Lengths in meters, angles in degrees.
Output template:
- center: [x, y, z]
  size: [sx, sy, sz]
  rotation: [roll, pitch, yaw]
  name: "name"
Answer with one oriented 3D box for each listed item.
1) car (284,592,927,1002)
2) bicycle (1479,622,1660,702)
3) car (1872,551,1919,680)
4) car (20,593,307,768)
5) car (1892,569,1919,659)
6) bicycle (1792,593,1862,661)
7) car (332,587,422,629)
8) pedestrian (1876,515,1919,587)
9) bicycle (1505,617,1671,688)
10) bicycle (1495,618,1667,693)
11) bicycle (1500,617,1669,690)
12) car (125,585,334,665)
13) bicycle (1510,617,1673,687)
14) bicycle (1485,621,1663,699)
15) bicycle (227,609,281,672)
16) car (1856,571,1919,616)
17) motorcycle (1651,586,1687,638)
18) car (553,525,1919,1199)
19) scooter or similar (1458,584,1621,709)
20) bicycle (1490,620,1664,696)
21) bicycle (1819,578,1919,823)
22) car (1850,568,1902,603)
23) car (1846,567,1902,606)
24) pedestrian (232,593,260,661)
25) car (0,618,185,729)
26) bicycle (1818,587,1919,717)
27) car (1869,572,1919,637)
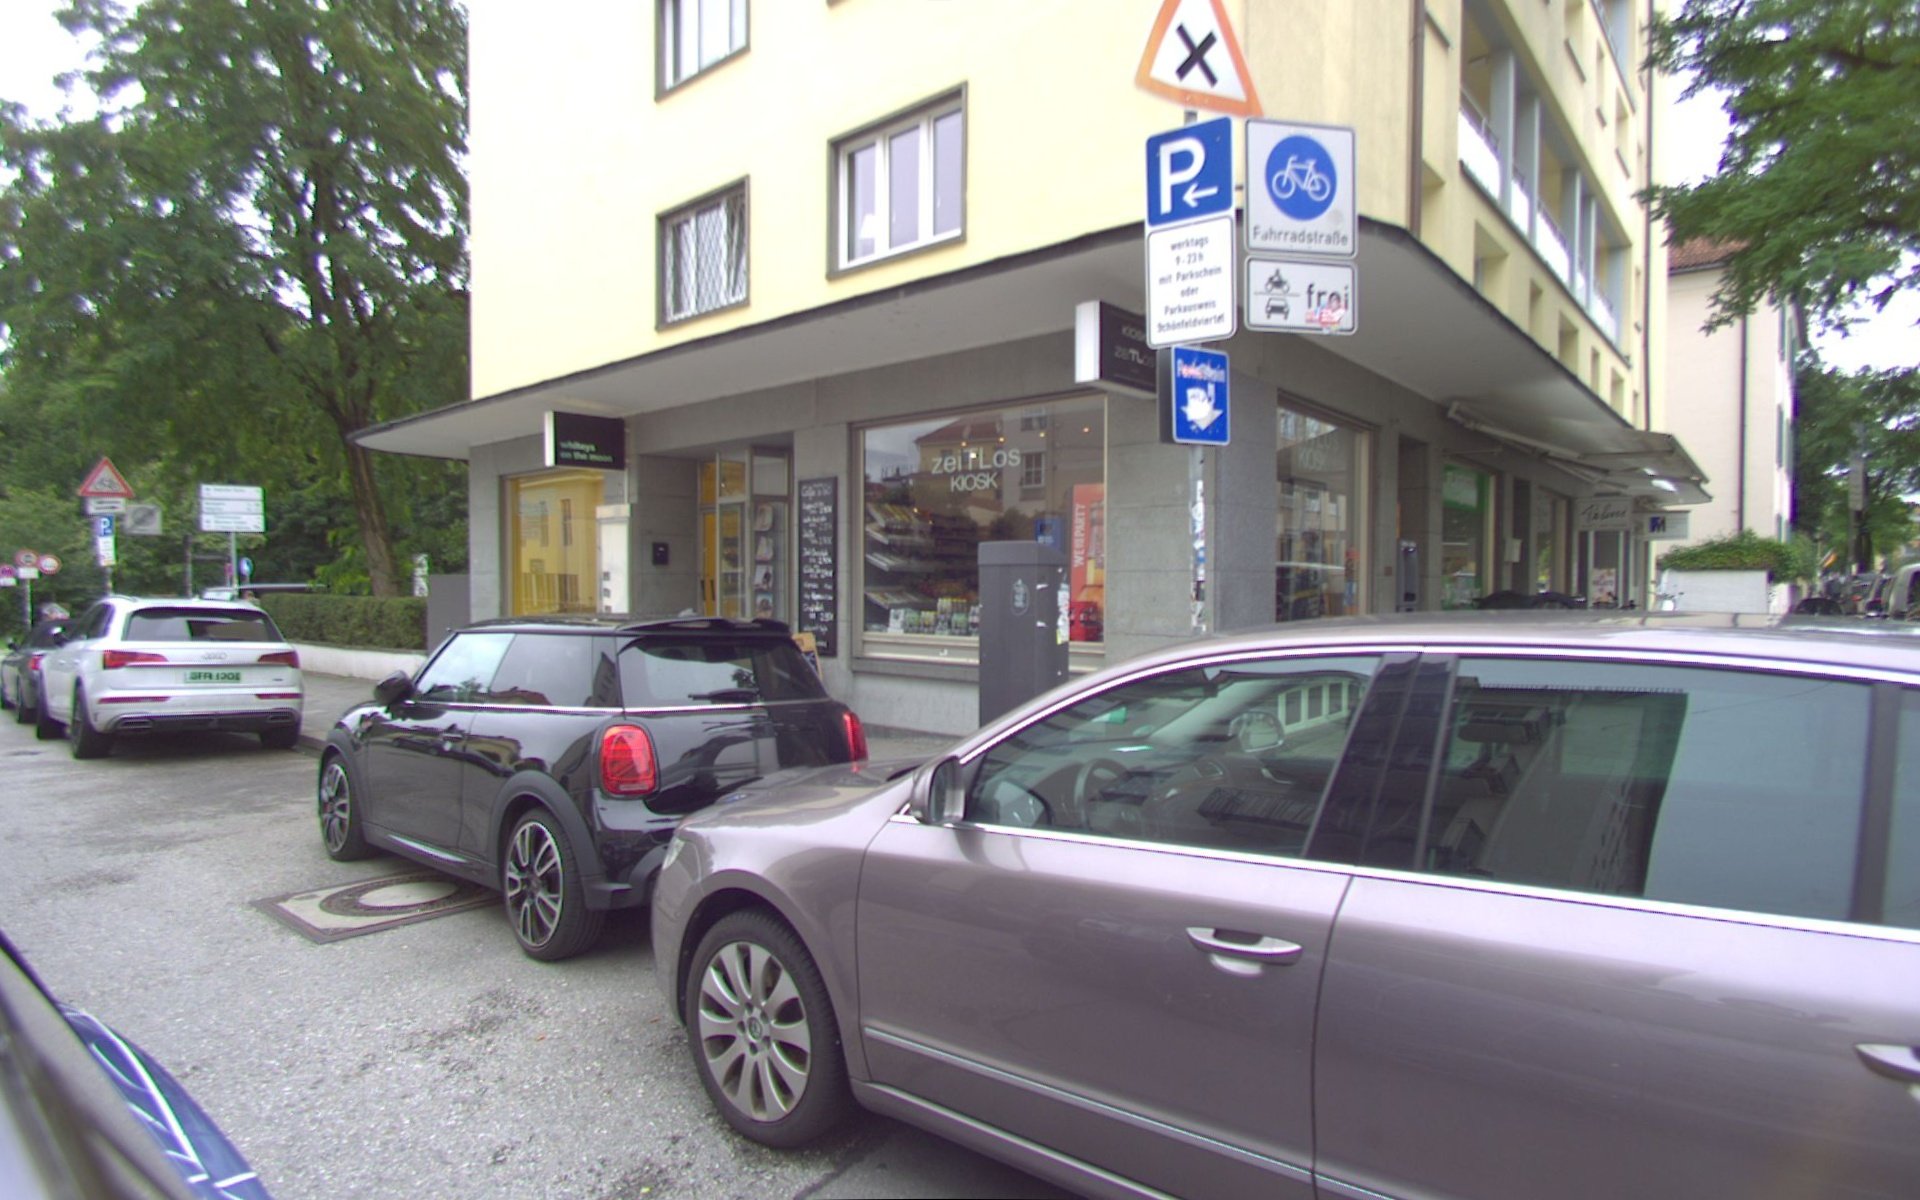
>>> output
- center: [-2.226, 0.730, 5.673]
  size: [4.096, 1.482, 1.661]
  rotation: [0, -1, 42]
  name: "car"
- center: [6.842, 0.671, 11.430]
  size: [1.721, 0.786, 0.289]
  rotation: [2, 1, 40]
  name: "bicycle"
- center: [15.642, 0.168, 15.821]
  size: [1.907, 1.859, 4.399]
  rotation: [-4, -2, 43]
  name: "car"
- center: [-9.028, 0.798, 11.342]
  size: [4.336, 1.596, 1.784]
  rotation: [-2, -2, 41]
  name: "car"
- center: [19.168, 0.197, 19.442]
  size: [1.775, 1.608, 4.109]
  rotation: [-4, -2, 43]
  name: "car"
- center: [15.732, 0.444, 18.342]
  size: [0.818, 1.110, 2.340]
  rotation: [2, 2, 44]
  name: "bicycle"
- center: [-31.763, 0.407, 55.217]
  size: [3.900, 2.120, 1.911]
  rotation: [-1, 2, -18]
  name: "car"
- center: [21.406, -1.103, 22.952]
  size: [0.673, 1.593, 0.574]
  rotation: [1, 1, 3]
  name: "pedestrian"
- center: [7.777, 0.631, 12.592]
  size: [1.721, 0.786, 0.289]
  rotation: [2, 1, 40]
  name: "bicycle"
- center: [7.403, 0.645, 12.130]
  size: [1.721, 0.786, 0.289]
  rotation: [2, 1, 40]
  name: "bicycle"
- center: [7.592, 0.634, 12.365]
  size: [1.721, 0.786, 0.289]
  rotation: [2, 1, 40]
  name: "bicycle"
- center: [-20.282, 0.613, 28.325]
  size: [1.926, 2.016, 4.381]
  rotation: [1, 1, 26]
  name: "car"
- center: [7.969, 0.633, 12.821]
  size: [1.721, 0.786, 0.289]
  rotation: [2, 1, 40]
  name: "bicycle"
- center: [7.031, 0.664, 11.657]
  size: [1.721, 0.786, 0.289]
  rotation: [2, 1, 40]
  name: "bicycle"
- center: [-14.827, 0.828, 21.235]
  size: [1.855, 1.219, 0.555]
  rotation: [0, 2, 44]
  name: "bicycle"
- center: [36.531, -0.250, 39.628]
  size: [1.996, 1.608, 4.109]
  rotation: [-4, -2, 43]
  name: "car"
- center: [16.254, 0.260, 23.187]
  size: [0.462, 1.092, 1.821]
  rotation: [1, 3, 42]
  name: "motorcycle"
- center: [1.123, 0.658, 2.370]
  size: [4.944, 1.482, 1.662]
  rotation: [0, -1, 39]
  name: "car"
- center: [6.001, 0.451, 10.572]
  size: [0.985, 1.210, 1.203]
  rotation: [1, 1, 0]
  name: "scooter or similar"
- center: [7.216, 0.657, 11.896]
  size: [1.721, 0.786, 0.289]
  rotation: [2, 1, 40]
  name: "bicycle"
- center: [5.984, 0.504, 6.282]
  size: [0.818, 1.220, 2.811]
  rotation: [2, 3, 44]
  name: "bicycle"
- center: [46.021, -0.703, 50.816]
  size: [1.775, 1.608, 4.109]
  rotation: [-4, -2, 43]
  name: "car"
- center: [41.664, -0.591, 46.113]
  size: [1.775, 1.608, 4.109]
  rotation: [-4, -2, 43]
  name: "car"
- center: [-19.449, 0.738, 27.569]
  size: [0.551, 1.812, 0.642]
  rotation: [-1, -1, -31]
  name: "pedestrian"
- center: [-13.059, 0.980, 15.015]
  size: [4.096, 1.421, 1.727]
  rotation: [-1, -1, 41]
  name: "car"
- center: [9.660, 0.510, 10.642]
  size: [0.818, 1.221, 2.340]
  rotation: [2, 0, 44]
  name: "bicycle"
- center: [25.569, 0.079, 27.030]
  size: [1.775, 1.608, 4.109]
  rotation: [-4, -2, 43]
  name: "car"
